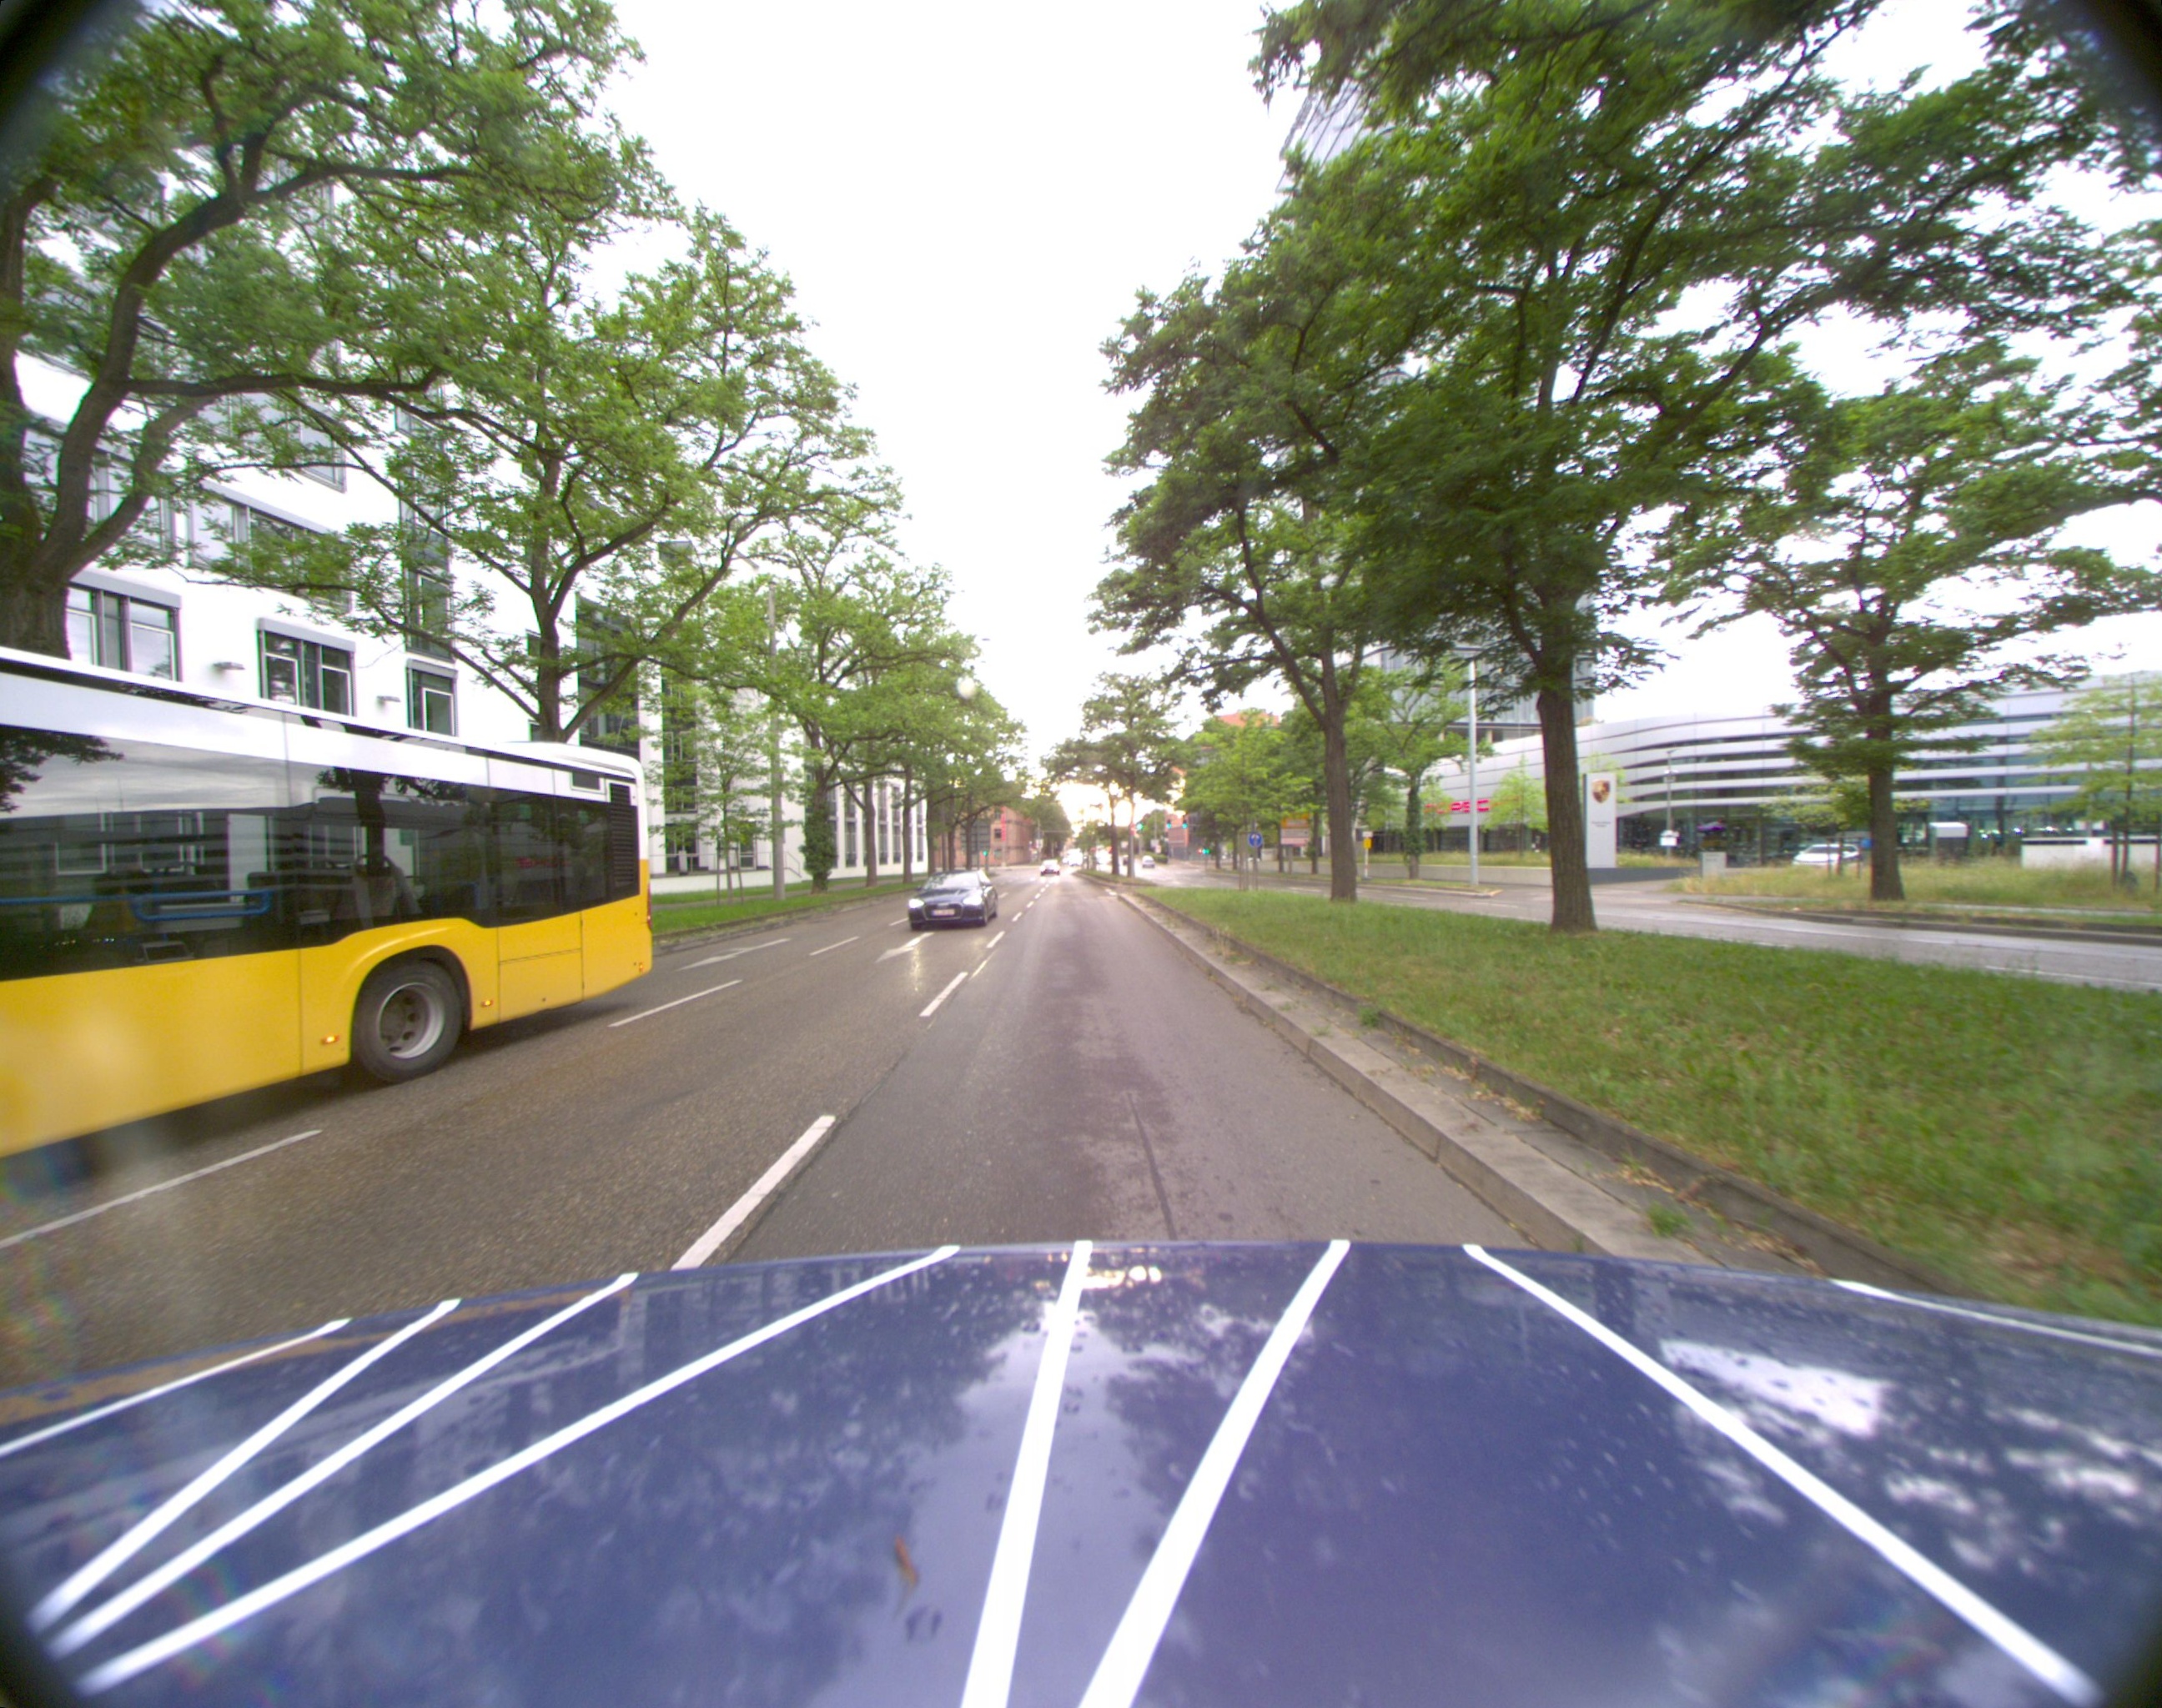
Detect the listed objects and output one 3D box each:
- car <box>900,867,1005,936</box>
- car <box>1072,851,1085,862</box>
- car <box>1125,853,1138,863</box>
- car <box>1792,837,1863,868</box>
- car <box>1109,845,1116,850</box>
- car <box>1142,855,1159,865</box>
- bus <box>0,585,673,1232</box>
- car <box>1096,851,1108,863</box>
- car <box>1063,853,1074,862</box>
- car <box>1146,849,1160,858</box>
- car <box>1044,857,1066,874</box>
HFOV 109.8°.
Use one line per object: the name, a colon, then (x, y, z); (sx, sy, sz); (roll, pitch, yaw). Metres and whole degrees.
car: (-3.154, 1.117, 19.570); (1.878, 1.346, 4.331); (-3, 1, 0)
car: (-0.436, 0.320, 122.253); (1.998, 1.707, 4.000); (-1, 0, 1)
car: (8.371, 0.657, 125.998); (1.846, 1.581, 4.172); (0, 1, -2)
car: (39.106, -0.087, 39.793); (4.006, 1.405, 1.774); (-4, 1, -33)
car: (10.063, -2.219, 243.669); (1.783, 1.445, 3.998); (-3, 1, -2)
car: (10.330, 0.880, 113.075); (1.894, 1.445, 3.998); (-3, 1, -2)
bus: (-6.604, 0.314, 3.394); (2.734, 3.133, 12.145); (-3, 0, 1)
car: (3.535, 0.575, 131.061); (1.998, 2.002, 4.000); (-1, 0, 1)
car: (-2.308, 0.635, 143.270); (1.998, 1.576, 4.000); (-1, 0, 1)
car: (12.208, -0.101, 129.732); (1.783, 1.445, 3.998); (-3, 1, -2)
car: (-2.441, 1.032, 71.436); (1.625, 1.426, 3.551); (-3, 1, 3)
